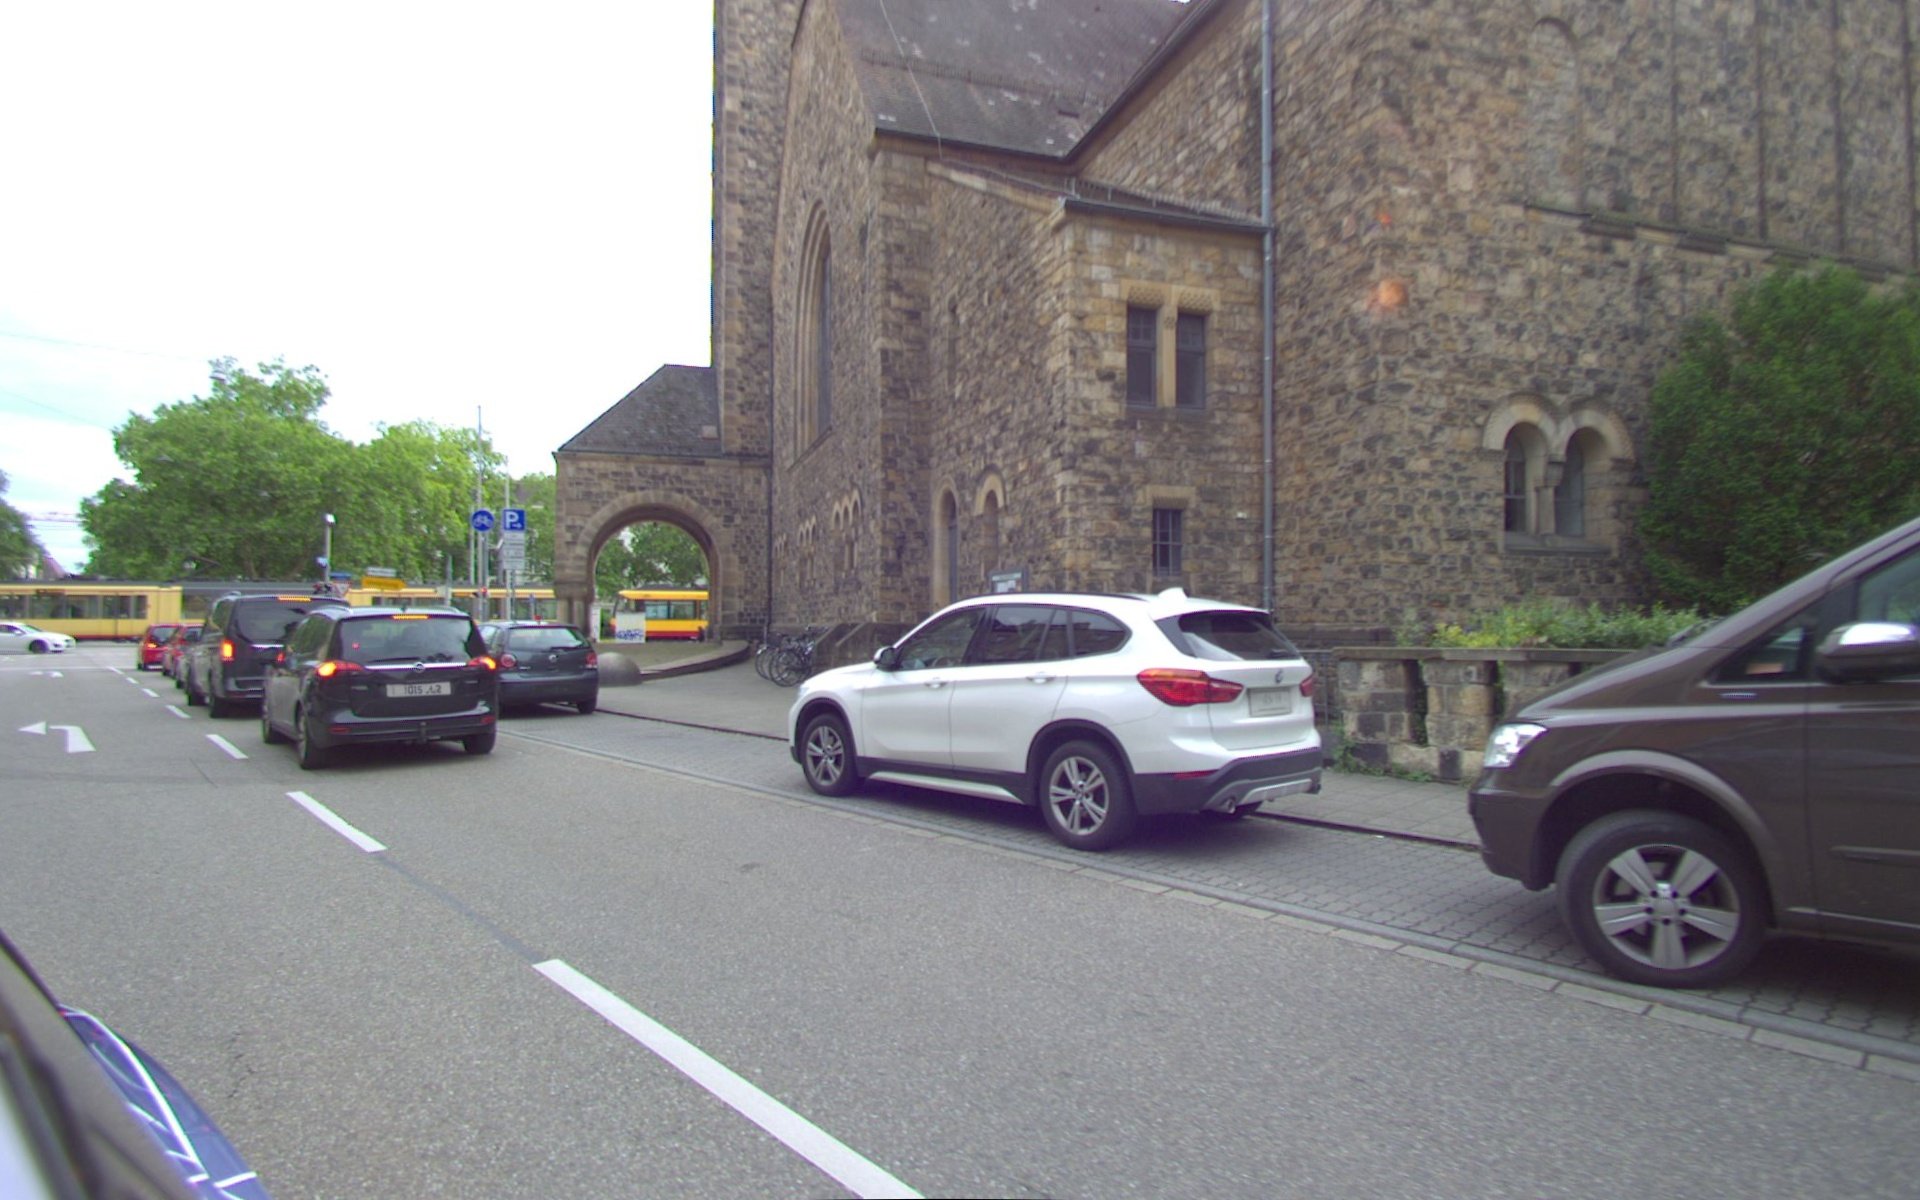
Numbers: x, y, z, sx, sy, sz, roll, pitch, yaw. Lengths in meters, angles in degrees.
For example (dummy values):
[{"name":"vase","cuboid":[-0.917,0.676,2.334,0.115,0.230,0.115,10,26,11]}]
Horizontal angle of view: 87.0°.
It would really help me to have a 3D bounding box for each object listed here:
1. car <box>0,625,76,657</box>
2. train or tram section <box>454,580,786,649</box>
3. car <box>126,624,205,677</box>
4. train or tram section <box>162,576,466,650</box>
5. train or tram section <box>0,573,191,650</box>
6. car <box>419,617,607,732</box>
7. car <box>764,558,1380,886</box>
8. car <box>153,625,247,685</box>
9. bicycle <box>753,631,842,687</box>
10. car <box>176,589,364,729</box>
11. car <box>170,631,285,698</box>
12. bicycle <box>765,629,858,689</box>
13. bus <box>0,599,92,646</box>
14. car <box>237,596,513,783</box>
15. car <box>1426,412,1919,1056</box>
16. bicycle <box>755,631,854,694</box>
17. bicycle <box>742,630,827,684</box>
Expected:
[{"name":"car","cuboid":[-43.484,1.877,46.472,3.932,1.406,1.886,0,-2,-17]},{"name":"train or tram section","cuboid":[-21.268,1.002,64.875,19.608,4.124,3.639,1,-1,-16]},{"name":"car","cuboid":[-24.996,1.597,31.800,1.629,1.540,3.898,4,-5,-42]},{"name":"train or tram section","cuboid":[-37.807,0.800,60.095,14.782,4.124,3.592,1,-1,-16]},{"name":"train or tram section","cuboid":[-52.046,0.632,55.962,14.782,4.124,3.665,1,-1,-16]},{"name":"car","cuboid":[-7.198,1.074,16.127,1.626,1.520,3.776,-1,1,-42]},{"name":"car","cuboid":[0.516,0.705,7.516,1.821,1.701,4.437,1,-2,-43]},{"name":"car","cuboid":[-20.687,1.465,27.493,1.583,1.468,3.722,4,-4,-43]},{"name":"bicycle","cuboid":[-3.446,1.238,21.525,1.753,1.139,0.663,1,-2,-30]},{"name":"car","cuboid":[-11.614,0.915,16.859,1.889,1.969,5.290,1,-2,-42]},{"name":"car","cuboid":[-16.161,1.371,22.263,1.683,1.296,4.048,4,-3,-40]},{"name":"bicycle","cuboid":[-3.053,1.197,20.816,1.753,1.175,0.744,1,-2,-30]},{"name":"bus","cuboid":[-61.434,1.343,62.031,12.168,2.878,3.302,1,-1,-17]},{"name":"car","cuboid":[-6.805,0.882,11.530,1.822,1.697,4.554,1,-2,-42]},{"name":"car","cuboid":[4.484,0.406,3.082,1.989,2.029,5.188,1,-2,-43]},{"name":"bicycle","cuboid":[-3.025,1.195,19.744,1.753,1.161,0.744,1,-2,-30]},{"name":"bicycle","cuboid":[-3.844,1.236,22.180,1.754,1.134,0.569,1,-2,-30]}]
